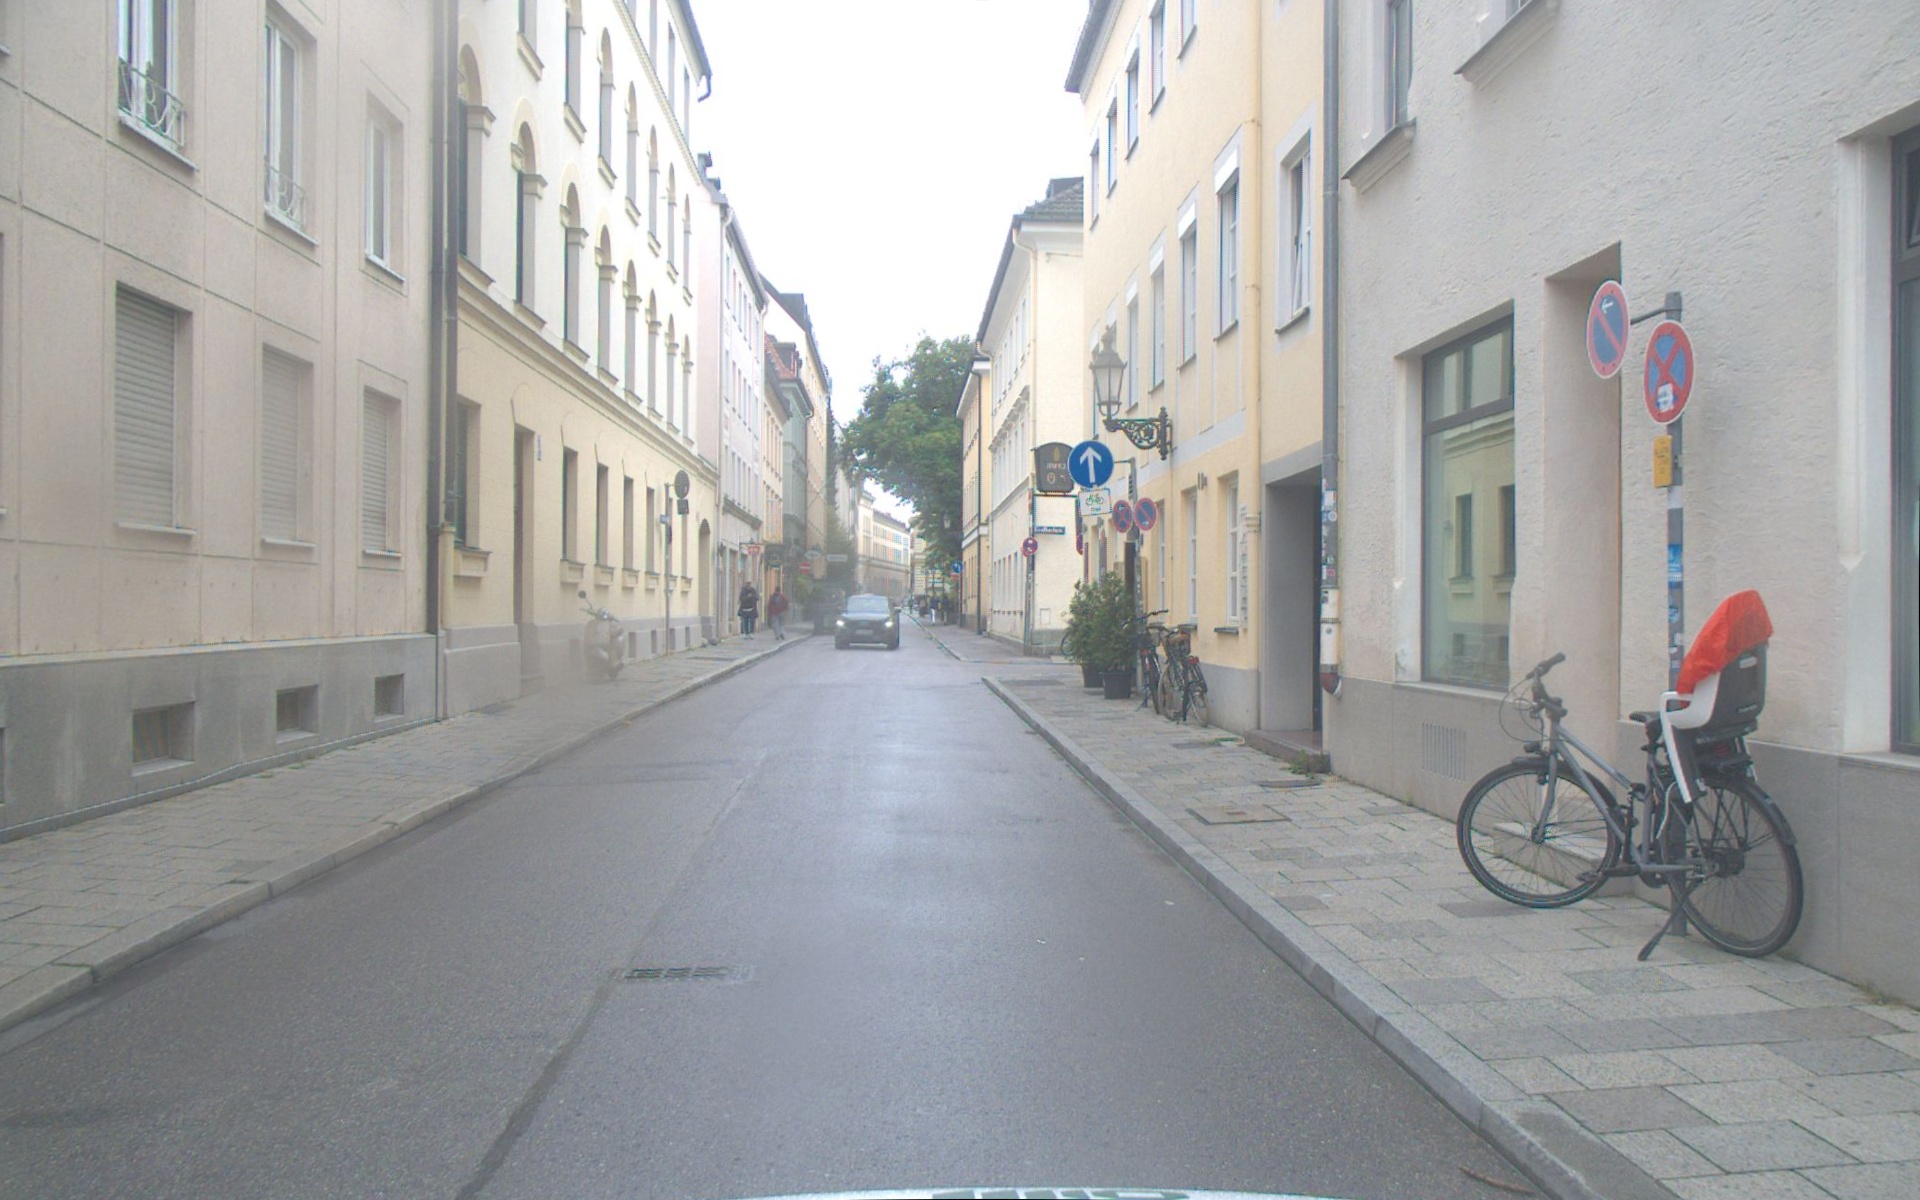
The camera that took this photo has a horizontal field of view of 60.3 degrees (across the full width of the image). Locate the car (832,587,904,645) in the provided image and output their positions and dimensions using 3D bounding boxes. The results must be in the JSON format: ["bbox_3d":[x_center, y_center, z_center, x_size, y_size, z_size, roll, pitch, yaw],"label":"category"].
[{"bbox_3d":[-2.665,0.445,48.792,1.774,1.621,4.001,1,0,1],"label":"car"}]

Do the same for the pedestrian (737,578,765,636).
[{"bbox_3d":[-6.614,0.219,52.350,0.793,1.786,0.989,1,1,-5],"label":"pedestrian"}]

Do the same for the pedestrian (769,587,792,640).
[{"bbox_3d":[-5.904,0.429,54.433,0.751,1.738,0.784,0,0,-5],"label":"pedestrian"}]

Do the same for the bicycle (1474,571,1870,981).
[{"bbox_3d":[2.838,0.616,6.891,0.699,1.420,2.122,-2,0,0],"label":"bicycle"}]

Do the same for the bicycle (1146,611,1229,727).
[{"bbox_3d":[2.446,0.717,17.966,0.554,1.157,1.987,-2,0,-1],"label":"bicycle"}]

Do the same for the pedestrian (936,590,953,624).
[{"bbox_3d":[-0.845,0.392,89.874,0.862,1.833,1.046,1,0,-2],"label":"pedestrian"}]

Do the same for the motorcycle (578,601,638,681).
[{"bbox_3d":[-5.478,0.620,25.804,0.590,1.194,1.708,1,0,-2],"label":"motorcycle"}]

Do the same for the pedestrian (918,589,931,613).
[{"bbox_3d":[-2.705,0.089,125.888,0.995,1.833,1.348,1,0,-2],"label":"pedestrian"}]

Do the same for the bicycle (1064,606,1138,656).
[{"bbox_3d":[3.398,0.752,39.952,1.722,1.164,0.586,0,2,-2],"label":"bicycle"}]

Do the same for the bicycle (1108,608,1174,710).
[{"bbox_3d":[2.194,0.696,20.176,0.554,1.157,1.683,-2,0,-1],"label":"bicycle"}]
